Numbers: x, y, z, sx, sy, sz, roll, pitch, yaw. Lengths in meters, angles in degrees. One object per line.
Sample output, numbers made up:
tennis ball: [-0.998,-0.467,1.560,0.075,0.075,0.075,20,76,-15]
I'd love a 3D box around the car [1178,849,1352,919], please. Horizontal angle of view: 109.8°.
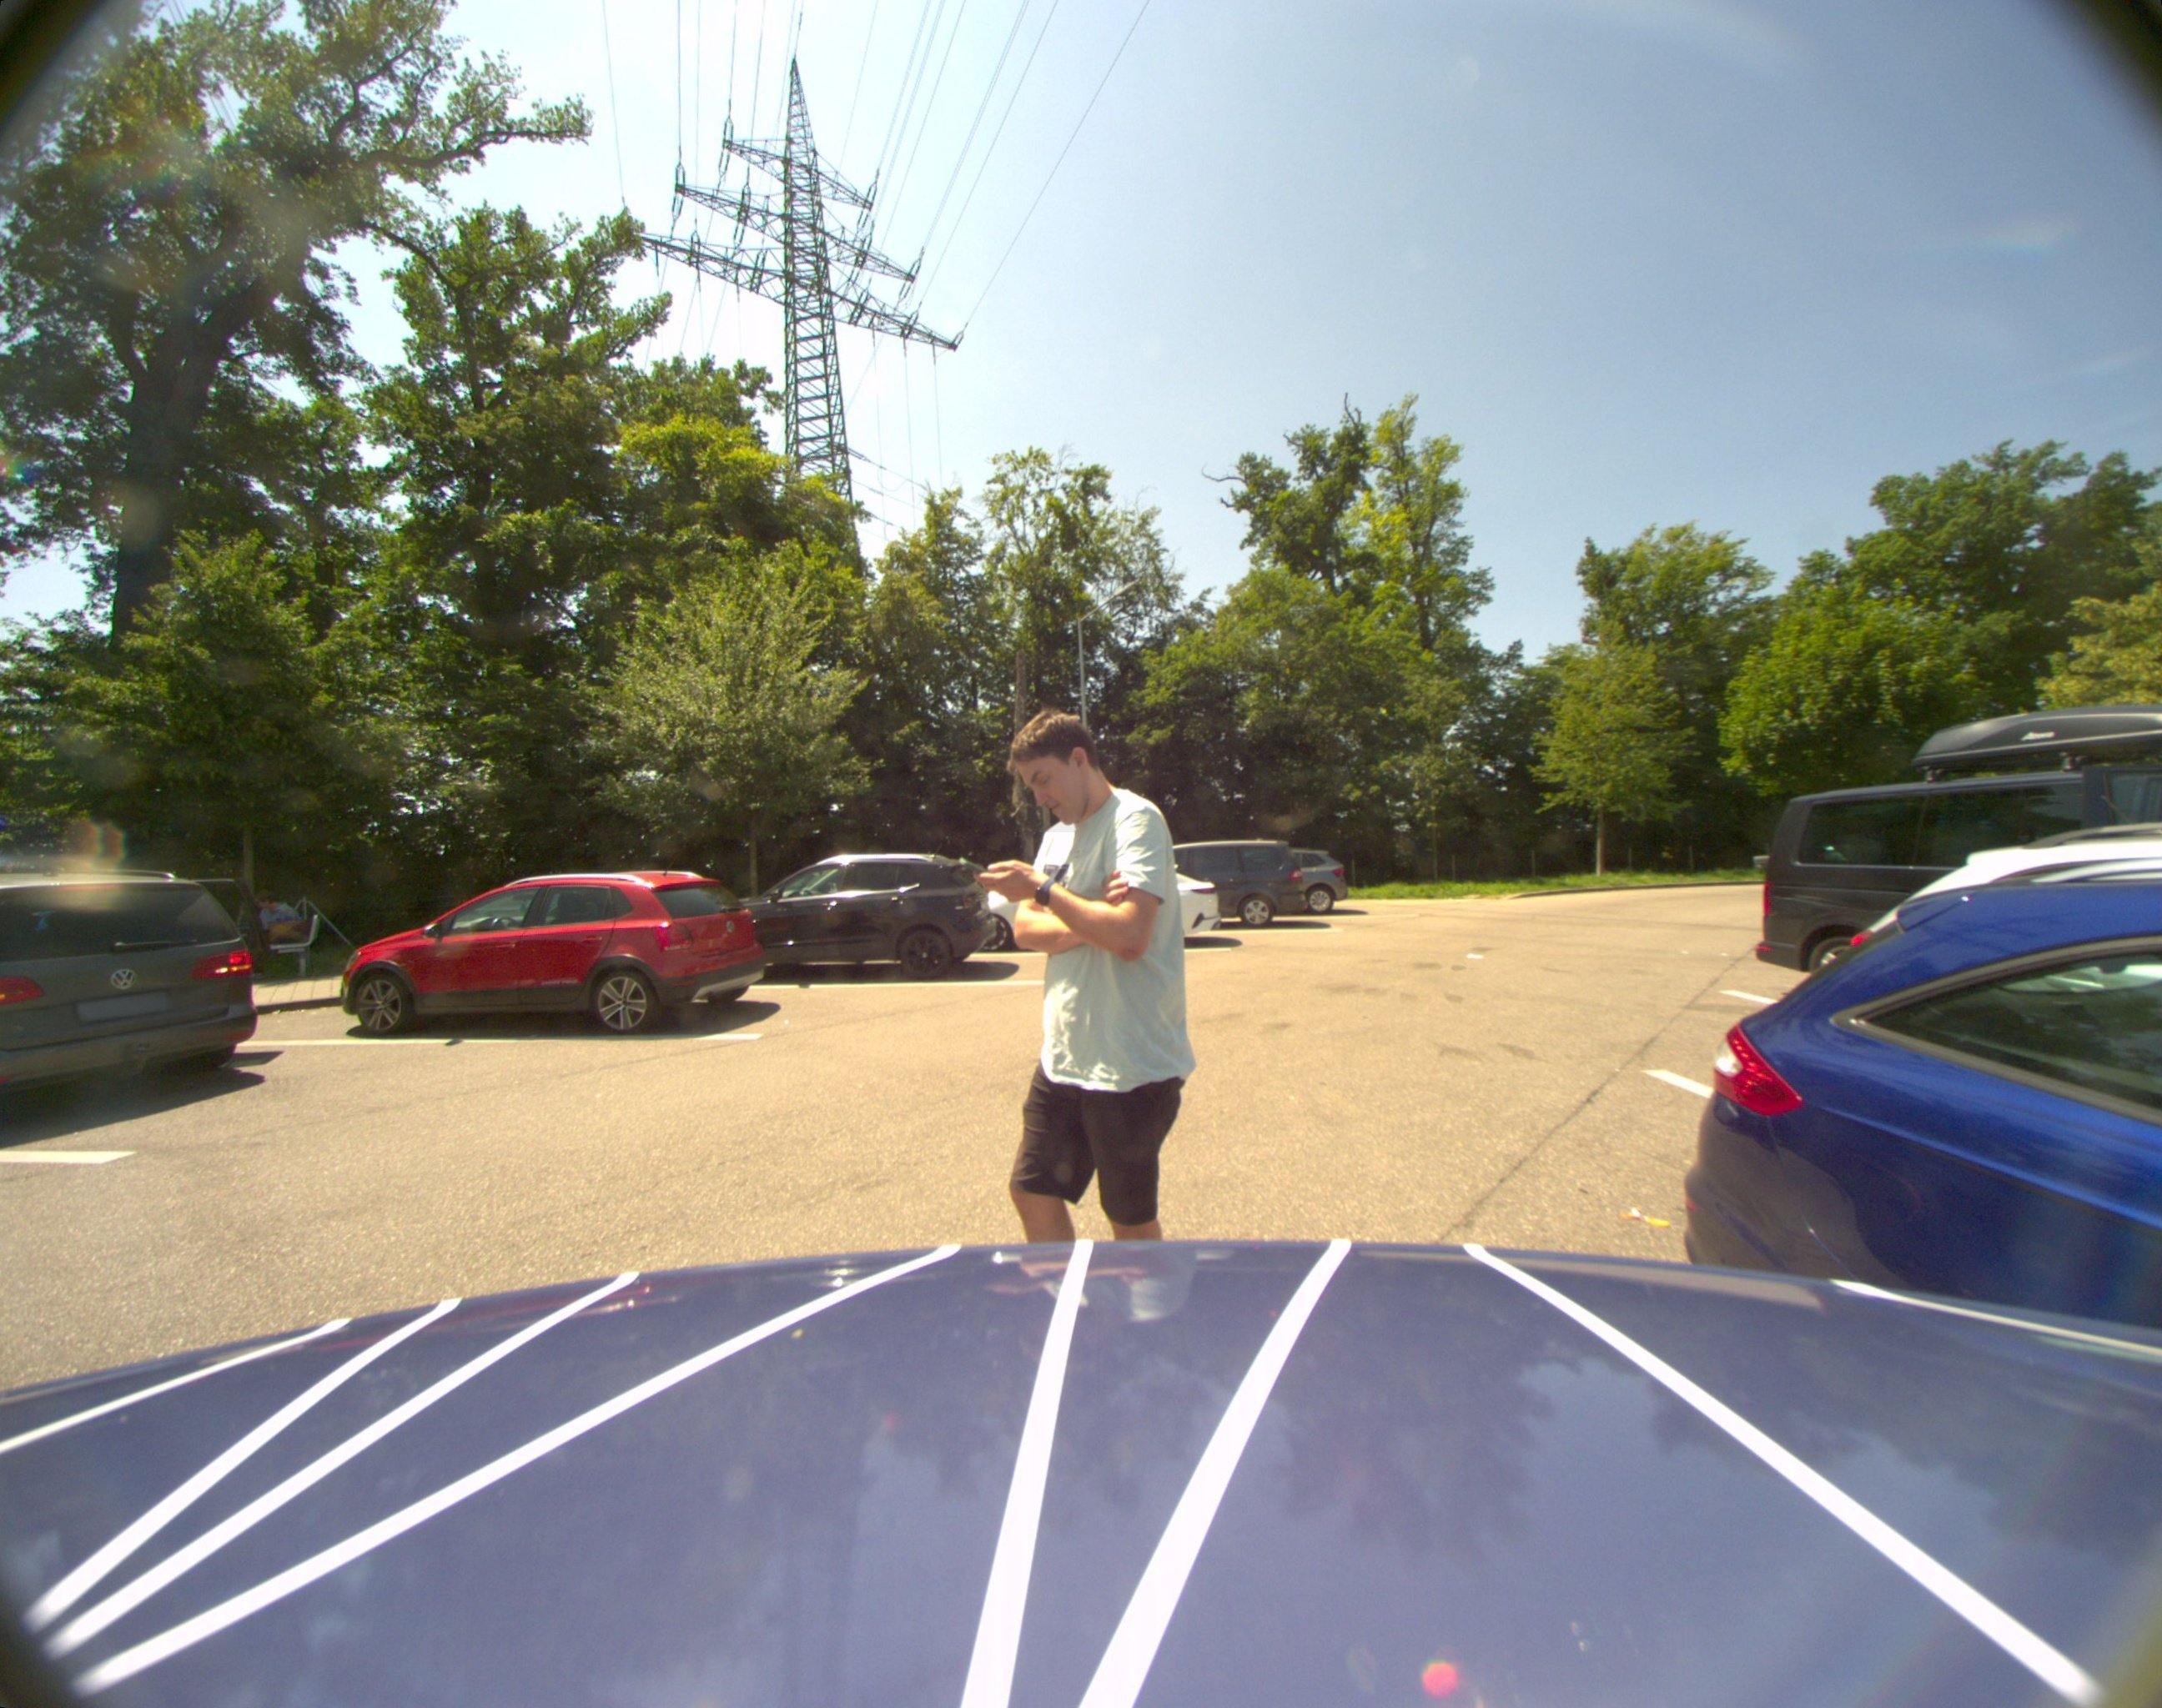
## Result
car: [4.335,0.690,18.161,3.818,1.530,1.722,-1,1,12]

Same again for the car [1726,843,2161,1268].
car: [4.868,0.726,2.290,1.741,1.524,4.642,-3,-1,-2]

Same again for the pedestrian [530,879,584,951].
pedestrian: [-10.016,1.137,14.520,0.782,1.287,0.670,-1,2,45]

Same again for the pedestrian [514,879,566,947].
pedestrian: [-10.906,1.162,15.316,0.782,1.287,0.670,-1,2,45]

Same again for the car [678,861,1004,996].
car: [-3.071,0.936,10.268,3.787,1.564,1.721,-1,1,2]

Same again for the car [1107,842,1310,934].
car: [2.583,0.667,15.459,3.818,1.714,1.722,-1,1,12]

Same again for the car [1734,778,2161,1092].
car: [7.316,0.438,4.919,1.961,1.858,4.642,-3,-1,-3]

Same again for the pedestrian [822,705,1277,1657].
pedestrian: [-0.027,0.642,1.884,0.888,1.831,0.622,-2,1,19]

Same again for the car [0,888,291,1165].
car: [-8.297,1.106,5.448,3.985,1.572,1.749,-1,1,12]

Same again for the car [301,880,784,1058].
car: [-5.244,1.066,7.657,3.785,1.457,1.722,-1,1,9]

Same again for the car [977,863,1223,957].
car: [0.359,0.899,12.733,3.819,1.377,1.722,-1,1,6]
